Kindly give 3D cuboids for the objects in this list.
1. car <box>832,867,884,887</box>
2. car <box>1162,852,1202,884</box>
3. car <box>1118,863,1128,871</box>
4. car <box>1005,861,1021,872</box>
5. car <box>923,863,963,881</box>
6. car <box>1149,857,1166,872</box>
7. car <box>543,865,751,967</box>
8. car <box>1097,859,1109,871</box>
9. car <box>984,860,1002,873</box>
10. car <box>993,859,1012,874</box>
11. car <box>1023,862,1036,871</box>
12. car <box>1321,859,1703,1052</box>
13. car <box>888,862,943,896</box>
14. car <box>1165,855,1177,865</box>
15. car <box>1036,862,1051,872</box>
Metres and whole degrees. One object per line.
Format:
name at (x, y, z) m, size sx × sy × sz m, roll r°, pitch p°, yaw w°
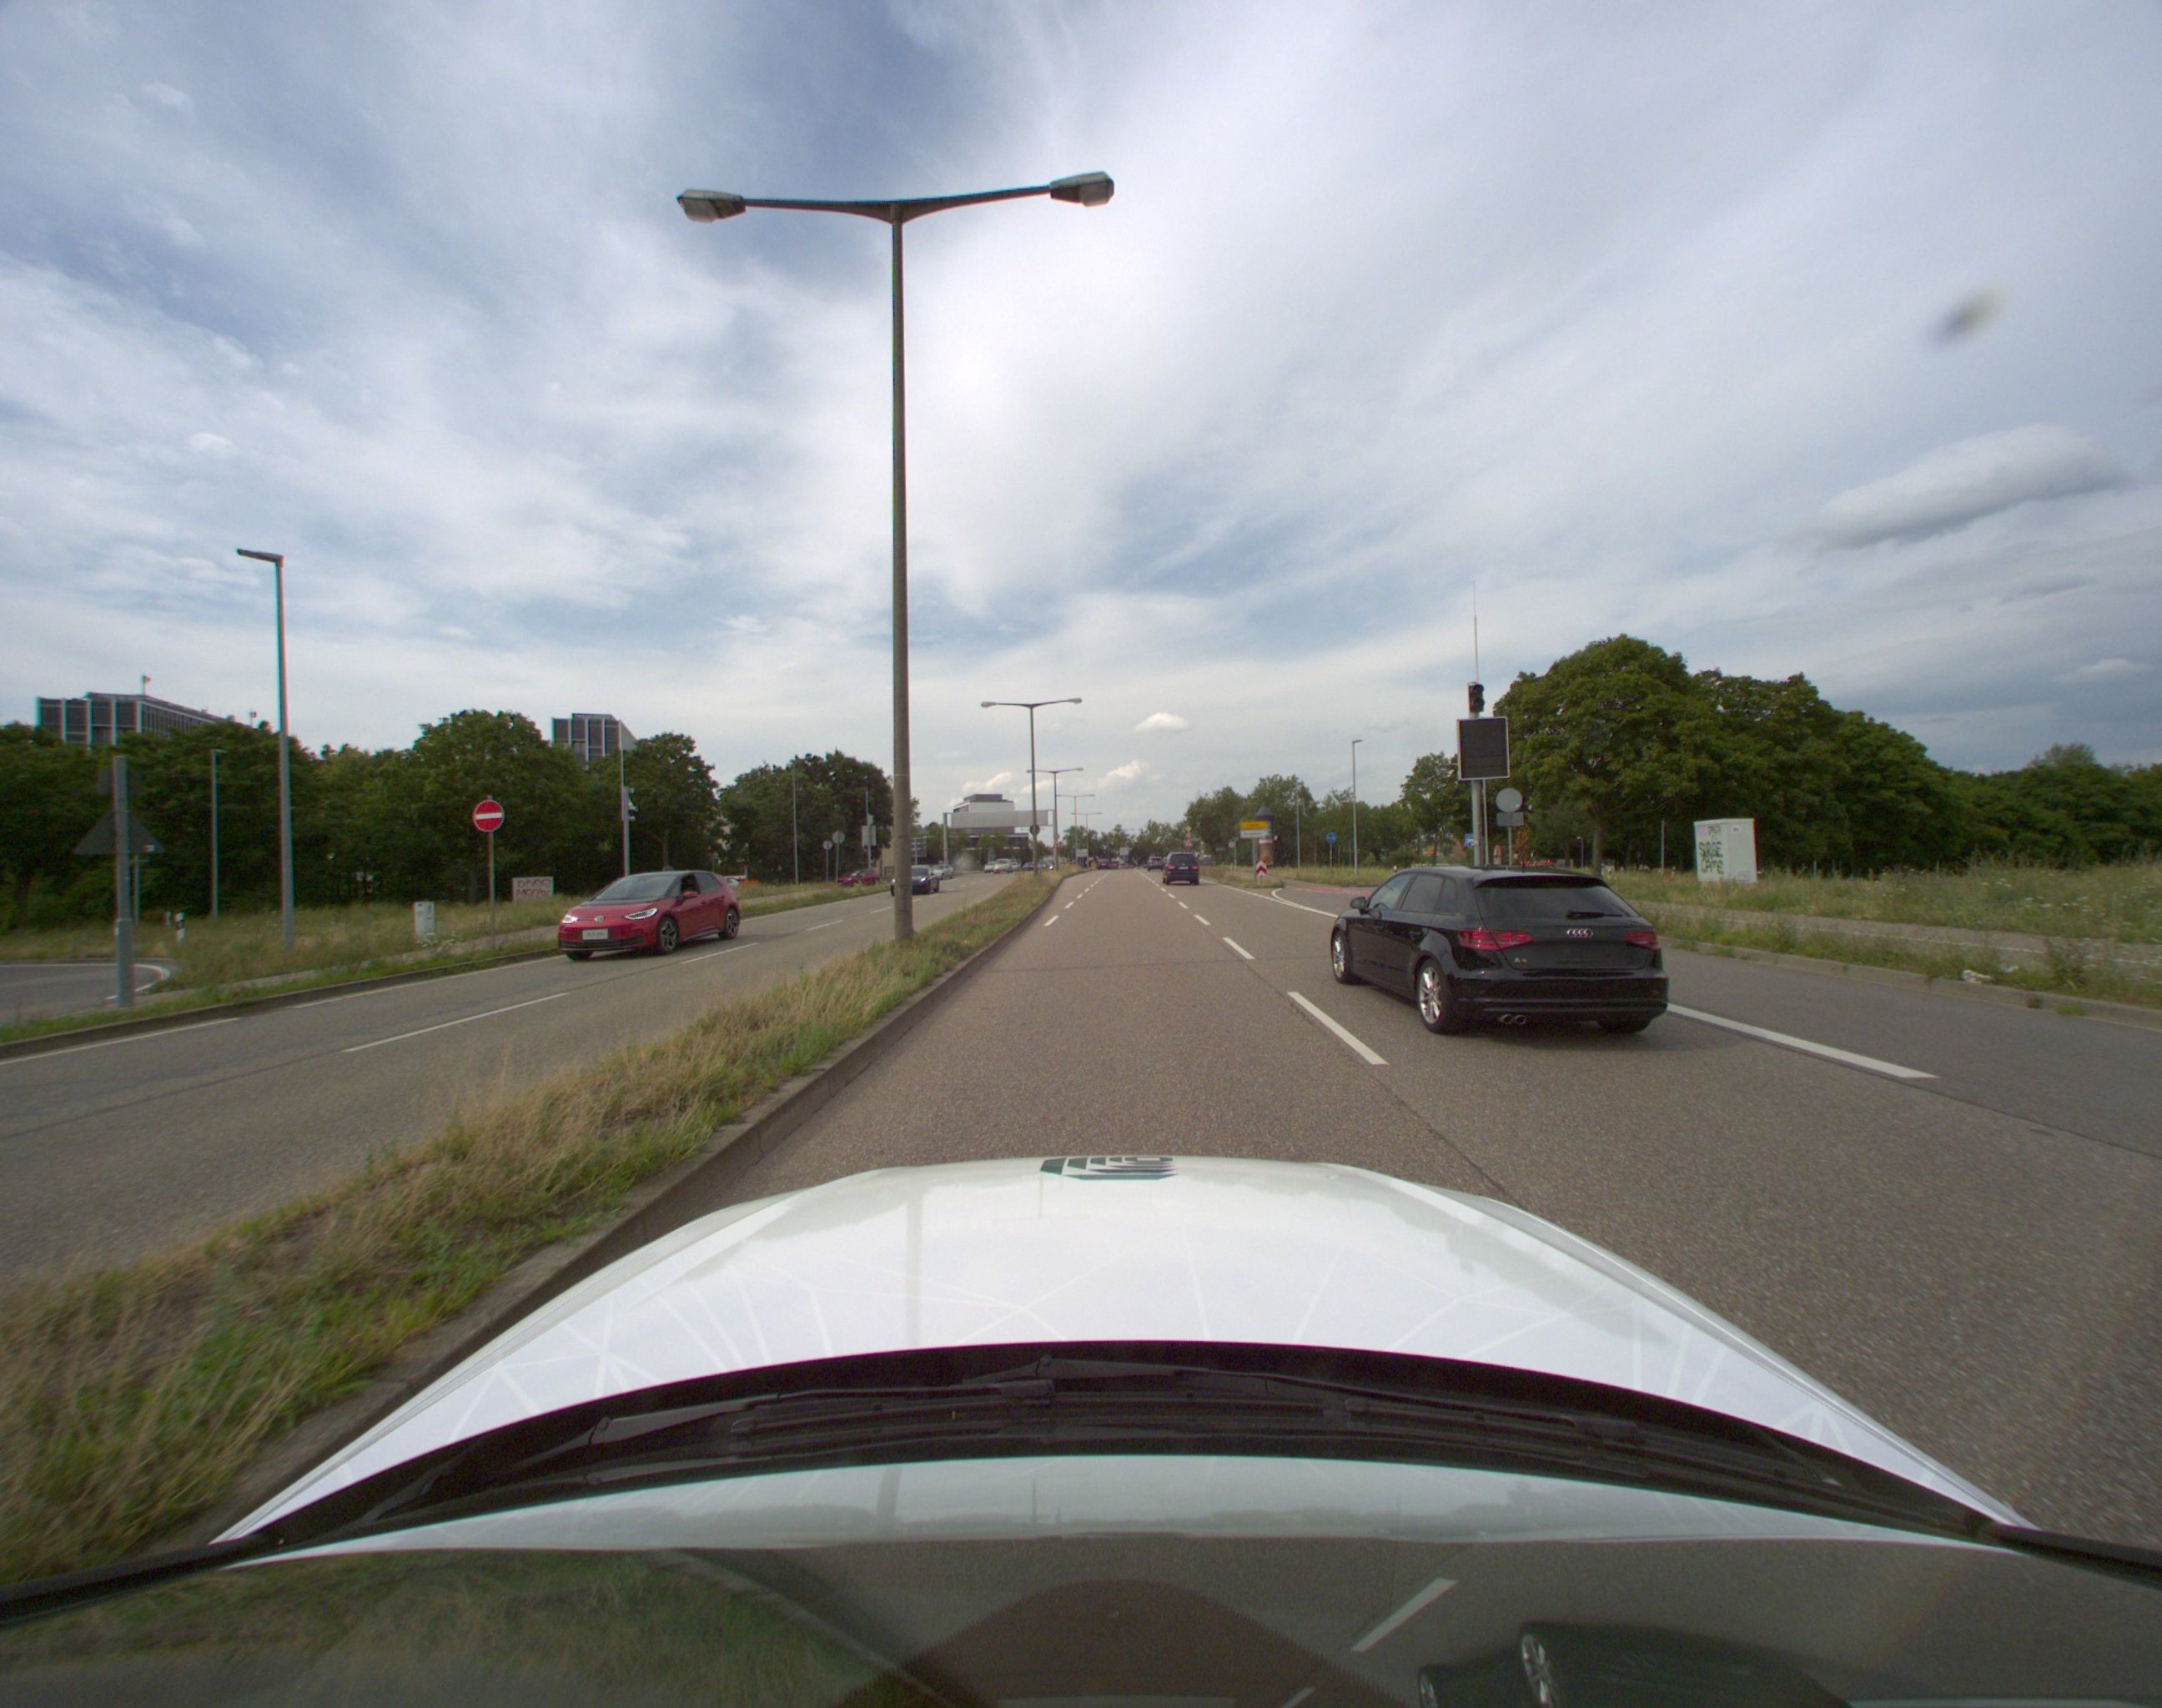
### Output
car at (-17.618, 1.815, 64.438) m, size 1.498 × 1.368 × 4.204 m, roll -2°, pitch 0°, yaw 27°
car at (5.376, 0.716, 43.829) m, size 1.724 × 1.653 × 4.116 m, roll -1°, pitch 0°, yaw 2°
car at (8.326, 2.505, 161.836) m, size 1.726 × 1.526 × 4.112 m, roll -1°, pitch 0°, yaw -1°
car at (-10.283, 1.896, 123.422) m, size 1.657 × 1.419 × 4.321 m, roll -4°, pitch -1°, yaw 6°
car at (-12.954, 1.701, 76.815) m, size 1.731 × 1.446 × 4.483 m, roll -2°, pitch 0°, yaw 19°
car at (8.762, 1.186, 93.333) m, size 1.724 × 1.653 × 4.116 m, roll -1°, pitch 0°, yaw 2°
car at (-8.339, 1.089, 16.161) m, size 1.645 × 1.574 × 4.338 m, roll -4°, pitch 0°, yaw 1°
car at (3.304, 1.658, 122.374) m, size 1.724 × 1.653 × 4.116 m, roll -1°, pitch 0°, yaw 2°
car at (-11.435, 1.619, 105.892) m, size 1.659 × 1.419 × 4.096 m, roll -3°, pitch 1°, yaw 3°
car at (-8.924, 1.375, 93.027) m, size 1.740 × 1.598 × 4.564 m, roll -2°, pitch 0°, yaw 0°
car at (-8.800, 2.160, 139.433) m, size 1.786 × 1.525 × 4.597 m, roll -3°, pitch -1°, yaw 2°
car at (3.780, 0.761, 8.064) m, size 1.724 × 1.395 × 4.116 m, roll 0°, pitch 0°, yaw 2°
car at (-8.217, 1.220, 40.797) m, size 1.739 × 1.475 × 4.565 m, roll -2°, pitch 0°, yaw 1°
car at (13.020, 0.888, 118.144) m, size 1.501 × 1.447 × 3.141 m, roll 0°, pitch 0°, yaw 1°
car at (-5.795, 1.935, 125.459) m, size 1.657 × 1.425 × 4.525 m, roll -3°, pitch -1°, yaw 6°
